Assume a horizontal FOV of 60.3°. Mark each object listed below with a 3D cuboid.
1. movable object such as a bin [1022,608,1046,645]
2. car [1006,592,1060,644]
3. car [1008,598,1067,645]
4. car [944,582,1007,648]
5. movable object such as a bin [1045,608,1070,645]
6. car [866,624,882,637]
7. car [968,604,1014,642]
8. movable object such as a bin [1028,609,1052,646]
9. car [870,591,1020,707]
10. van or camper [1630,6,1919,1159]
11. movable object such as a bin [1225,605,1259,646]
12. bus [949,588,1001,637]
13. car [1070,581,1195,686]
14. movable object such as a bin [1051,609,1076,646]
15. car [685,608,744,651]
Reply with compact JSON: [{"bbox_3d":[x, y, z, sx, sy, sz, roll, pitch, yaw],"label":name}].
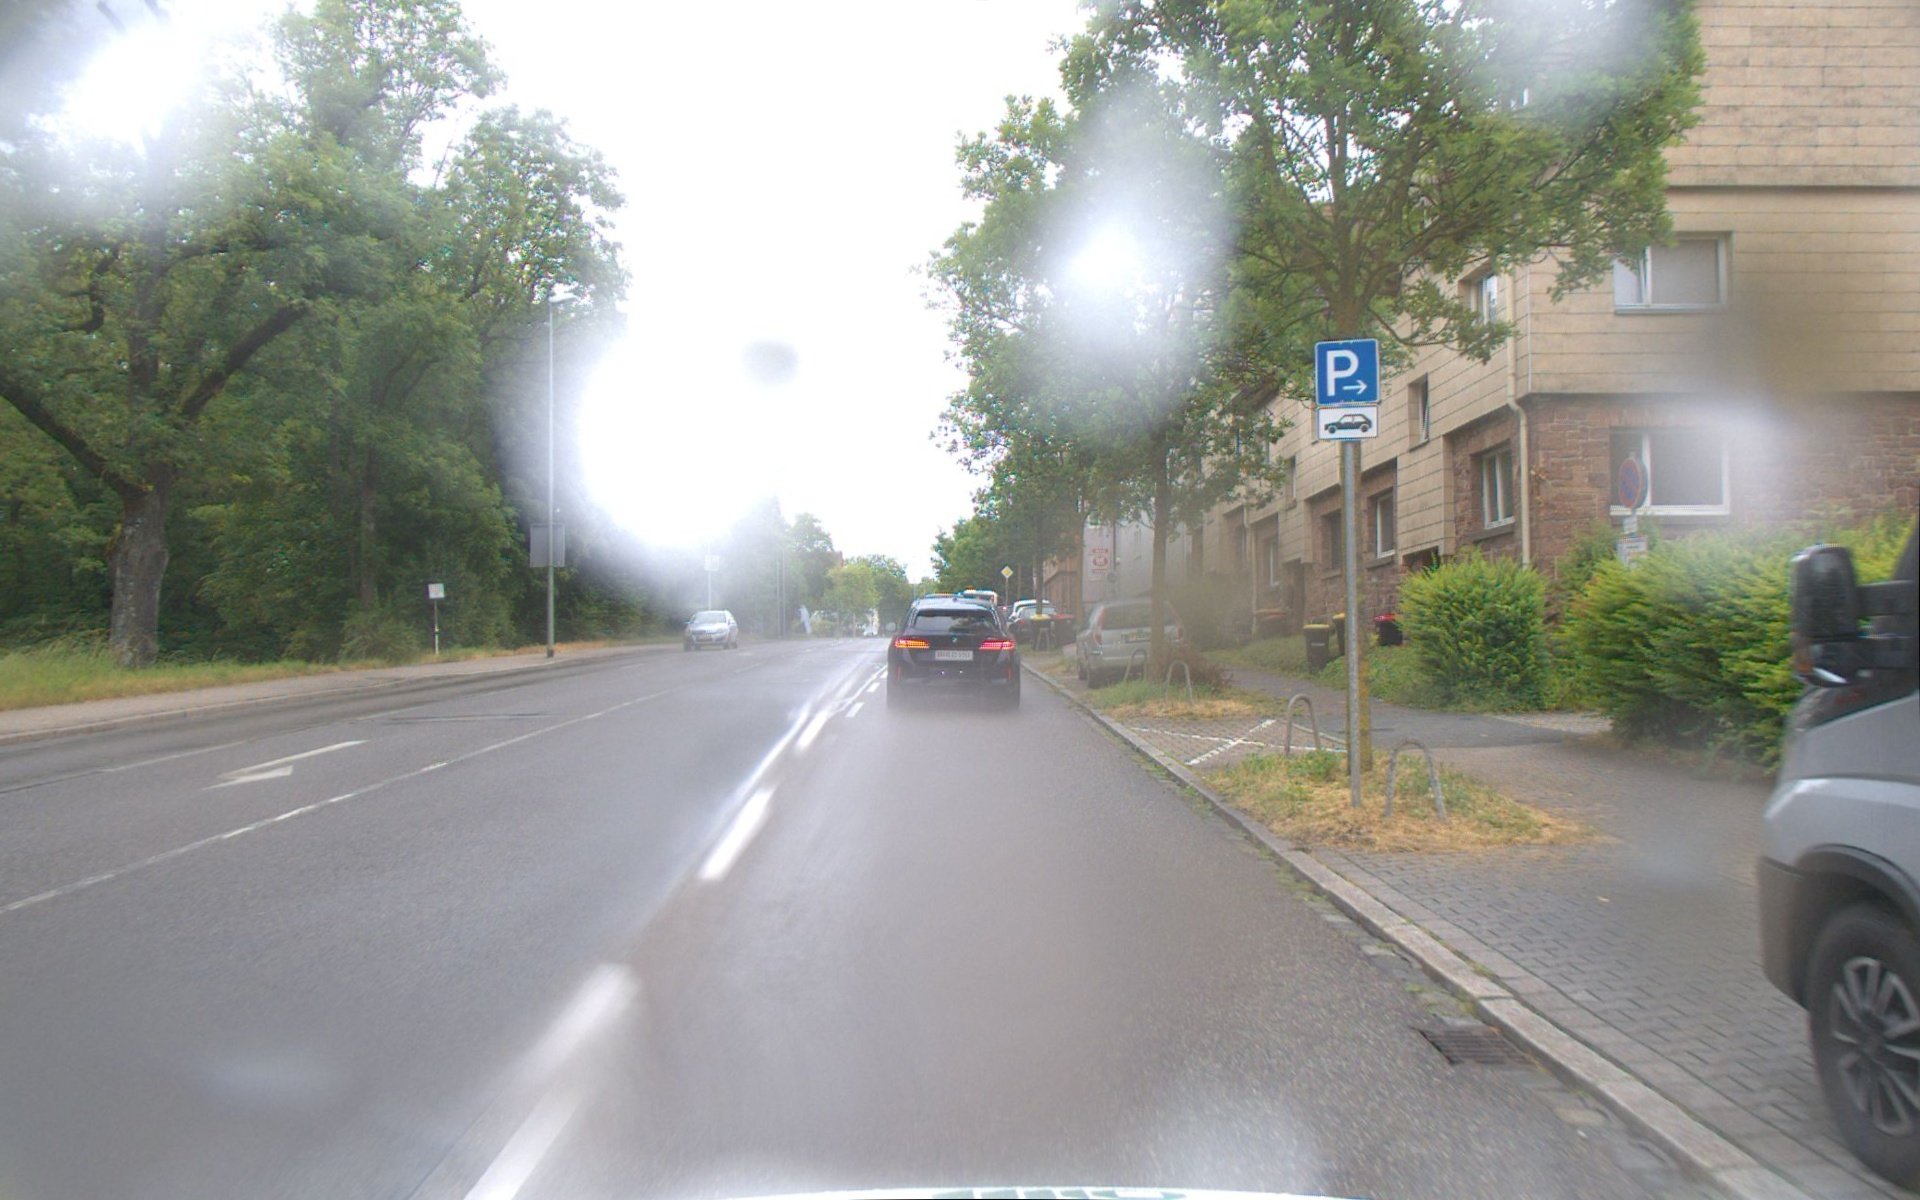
[{"bbox_3d":[2.263,0.802,50.516,0.607,1.068,0.822,-3,0,-4],"label":"movable object such as a bin"},{"bbox_3d":[2.648,0.656,61.061,1.787,1.803,4.541,-2,0,0],"label":"car"},{"bbox_3d":[2.553,0.723,55.328,1.608,1.474,3.996,-1,-1,-2],"label":"car"},{"bbox_3d":[0.474,0.491,53.547,1.953,2.049,3.999,0,0,-1],"label":"car"},{"bbox_3d":[2.986,0.811,50.535,0.607,1.068,0.822,-3,0,-4],"label":"movable object such as a bin"},{"bbox_3d":[-10.871,3.855,209.276,1.734,1.560,3.999,-2,0,-1],"label":"car"},{"bbox_3d":[1.730,1.313,91.933,1.886,1.925,4.764,-4,-2,8],"label":"car"},{"bbox_3d":[2.396,0.812,49.620,0.607,1.068,0.822,-3,0,-4],"label":"movable object such as a bin"},{"bbox_3d":[-0.237,0.664,24.035,1.953,1.478,3.999,2,0,-1],"label":"car"},{"bbox_3d":[3.331,-0.034,1.753,2.153,2.697,7.301,-2,1,0],"label":"van or camper"},{"bbox_3d":[6.980,0.634,40.952,0.686,0.982,0.941,1,0,-1],"label":"movable object such as a bin"},{"bbox_3d":[1.024,0.749,103.738,2.568,2.897,8.293,-2,0,5],"label":"bus"},{"bbox_3d":[3.014,0.532,29.692,1.667,1.611,4.643,-4,1,0],"label":"car"},{"bbox_3d":[3.113,0.820,49.614,0.607,1.068,0.822,-3,0,-4],"label":"movable object such as a bin"},{"bbox_3d":[-9.283,1.101,62.899,1.655,1.508,4.450,-3,0,-2],"label":"car"}]
